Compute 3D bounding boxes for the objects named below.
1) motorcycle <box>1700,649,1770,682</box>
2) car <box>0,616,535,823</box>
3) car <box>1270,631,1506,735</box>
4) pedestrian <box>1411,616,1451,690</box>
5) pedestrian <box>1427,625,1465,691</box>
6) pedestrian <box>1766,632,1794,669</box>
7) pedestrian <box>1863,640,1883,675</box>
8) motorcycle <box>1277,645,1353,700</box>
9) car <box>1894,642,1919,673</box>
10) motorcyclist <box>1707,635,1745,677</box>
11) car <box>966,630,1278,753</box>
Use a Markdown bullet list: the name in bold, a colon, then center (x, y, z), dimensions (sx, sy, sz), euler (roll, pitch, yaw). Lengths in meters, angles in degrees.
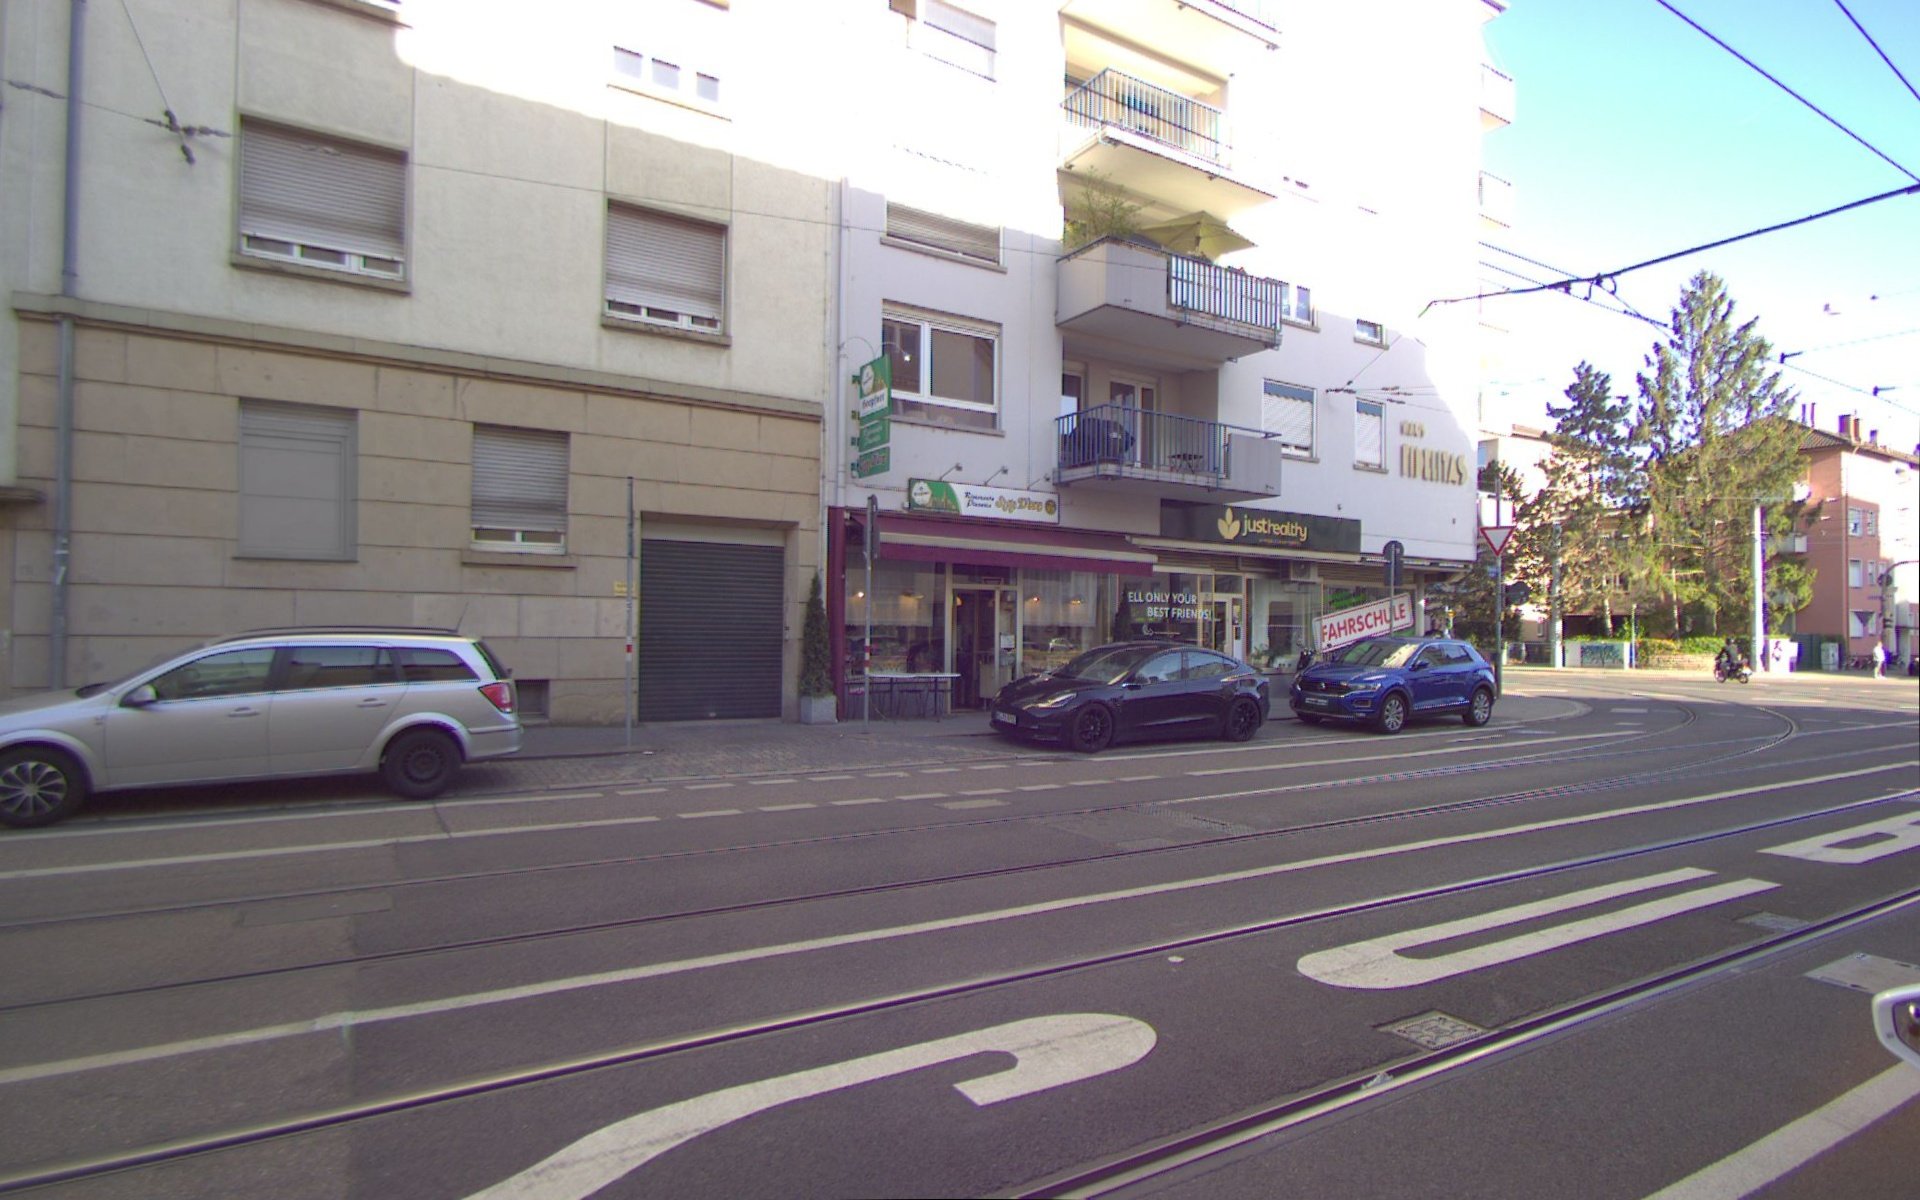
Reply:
- **motorcycle**: center (28.753, 2.415, 37.288), dimensions (0.843, 1.060, 1.937), euler (2, 0, -13)
- **car**: center (-6.338, 0.969, 9.119), dimensions (4.324, 1.474, 1.715), euler (2, 1, -33)
- **car**: center (7.519, 1.349, 17.527), dimensions (4.193, 1.524, 1.758), euler (1, 1, -34)
- **pedestrian**: center (12.569, 1.411, 26.800), dimensions (0.726, 1.925, 0.573), euler (3, -2, -13)
- **pedestrian**: center (13.696, 1.632, 28.326), dimensions (0.653, 1.816, 0.733), euler (1, -1, -24)
- **pedestrian**: center (39.980, 2.460, 48.992), dimensions (0.768, 1.744, 0.705), euler (2, 0, 11)
- **pedestrian**: center (42.556, 2.673, 46.828), dimensions (0.567, 1.589, 0.514), euler (2, 0, -31)
- **motorcycle**: center (7.903, 1.595, 22.344), dimensions (1.777, 1.149, 0.603), euler (2, 0, -32)
- **car**: center (49.423, 3.005, 50.817), dimensions (4.394, 1.450, 2.141), euler (4, -1, -33)
- **motorcyclist**: center (28.687, 2.107, 37.621), dimensions (0.843, 1.508, 0.727), euler (2, 0, -13)
- **car**: center (2.423, 1.259, 14.667), dimensions (4.395, 1.494, 1.760), euler (2, 0, -31)
